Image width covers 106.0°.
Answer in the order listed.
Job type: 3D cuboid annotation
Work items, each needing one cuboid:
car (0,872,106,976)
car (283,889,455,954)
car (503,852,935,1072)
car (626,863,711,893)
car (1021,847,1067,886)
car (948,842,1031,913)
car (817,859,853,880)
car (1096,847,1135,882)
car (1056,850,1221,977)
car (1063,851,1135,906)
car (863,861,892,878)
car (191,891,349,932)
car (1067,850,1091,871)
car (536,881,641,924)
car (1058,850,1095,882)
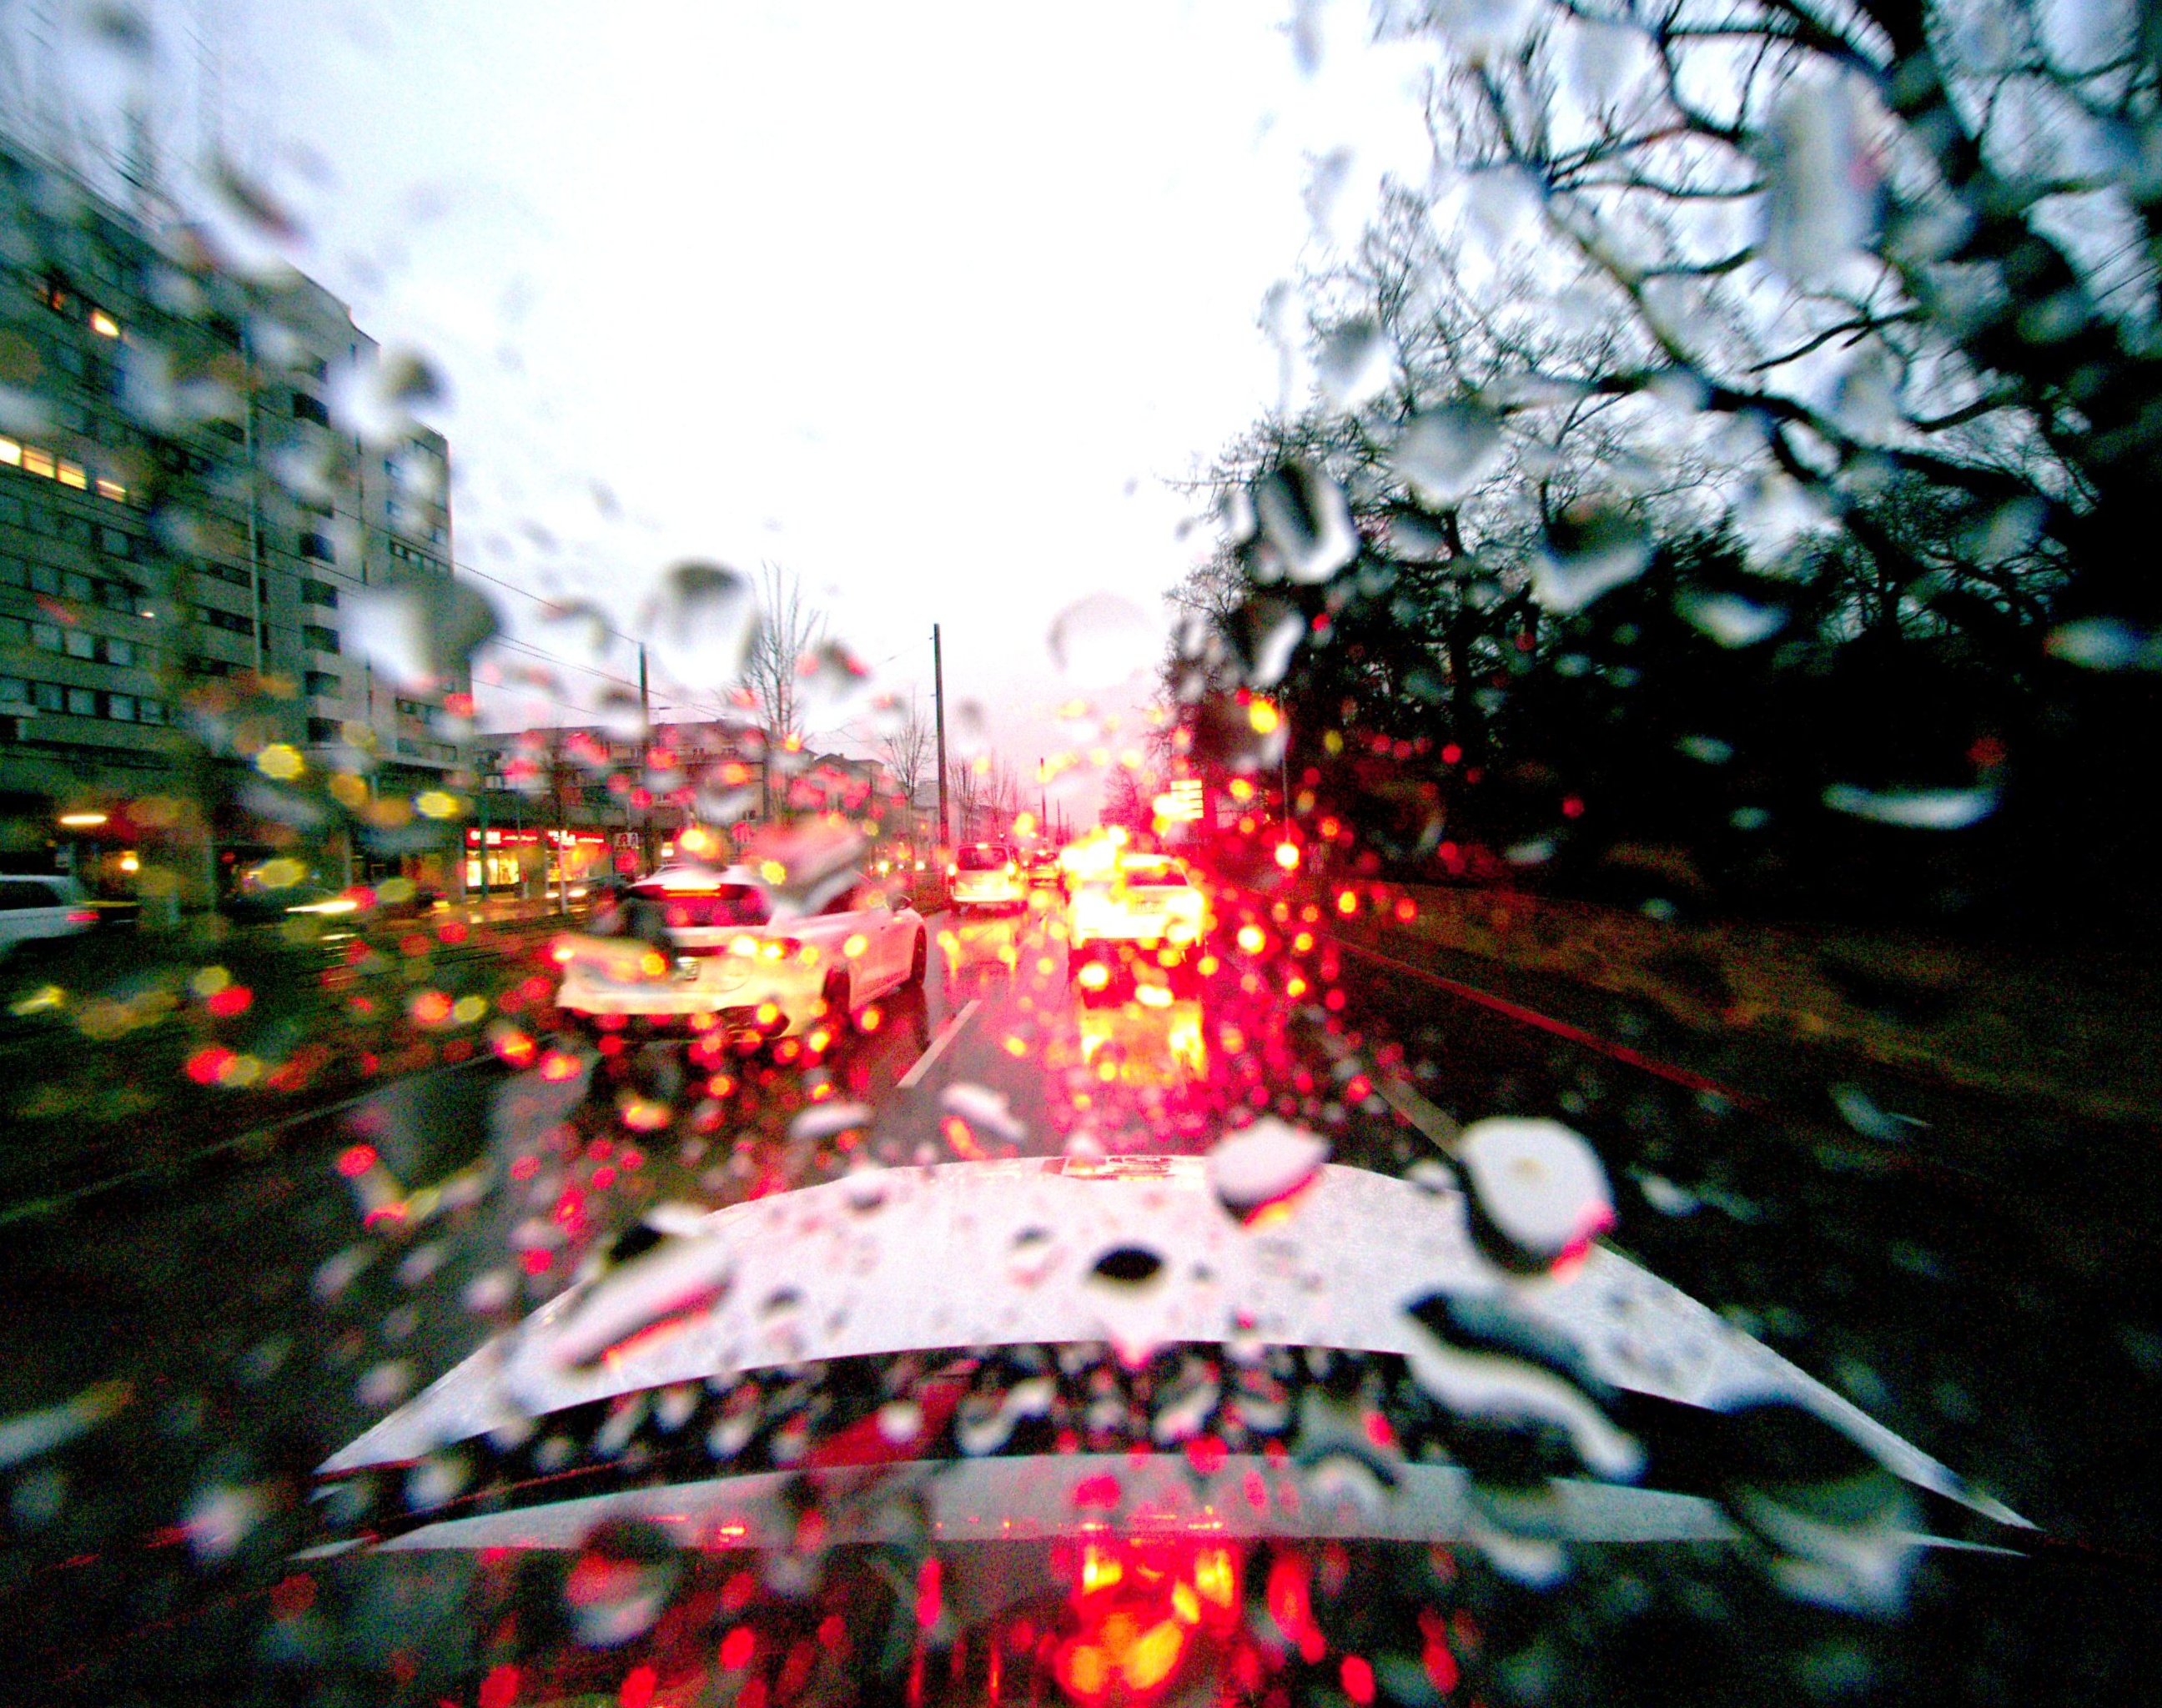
[{"bbox_3d":[-19.326,1.255,12.726,1.889,1.719,5.119,-2,0,1],"label":"car"},{"bbox_3d":[-24.789,2.285,28.629,1.889,1.813,4.531,-2,0,2],"label":"car"},{"bbox_3d":[-2.777,0.711,7.612,1.839,1.405,4.616,-1,0,2],"label":"car"},{"bbox_3d":[-30.461,1.761,60.282,5.193,1.912,1.975,-3,0,-44],"label":"car"},{"bbox_3d":[-1.653,0.539,37.874,1.800,1.646,4.002,-1,0,2],"label":"car"},{"bbox_3d":[-2.416,0.586,22.584,1.788,1.736,4.536,-1,0,0],"label":"car"},{"bbox_3d":[-24.293,1.505,80.616,1.988,1.912,5.160,-3,0,-2],"label":"car"},{"bbox_3d":[1.688,0.484,40.384,1.800,1.646,4.002,-1,0,2],"label":"car"},{"bbox_3d":[0.772,0.722,12.104,1.992,1.508,4.165,-1,0,2],"label":"car"},{"bbox_3d":[0.544,0.651,24.178,1.928,1.457,4.165,-1,0,2],"label":"car"},{"bbox_3d":[-21.510,1.639,86.110,1.890,1.634,4.579,-2,0,0],"label":"car"},{"bbox_3d":[-31.328,2.185,31.649,4.015,1.387,1.916,0,-1,-34],"label":"car"},{"bbox_3d":[-0.110,0.515,66.820,1.800,1.646,4.002,-1,0,2],"label":"car"},{"bbox_3d":[-23.687,2.277,39.419,1.888,1.719,4.919,-2,0,2],"label":"car"},{"bbox_3d":[-0.220,0.664,47.118,1.986,1.755,4.001,-1,0,1],"label":"car"}]
